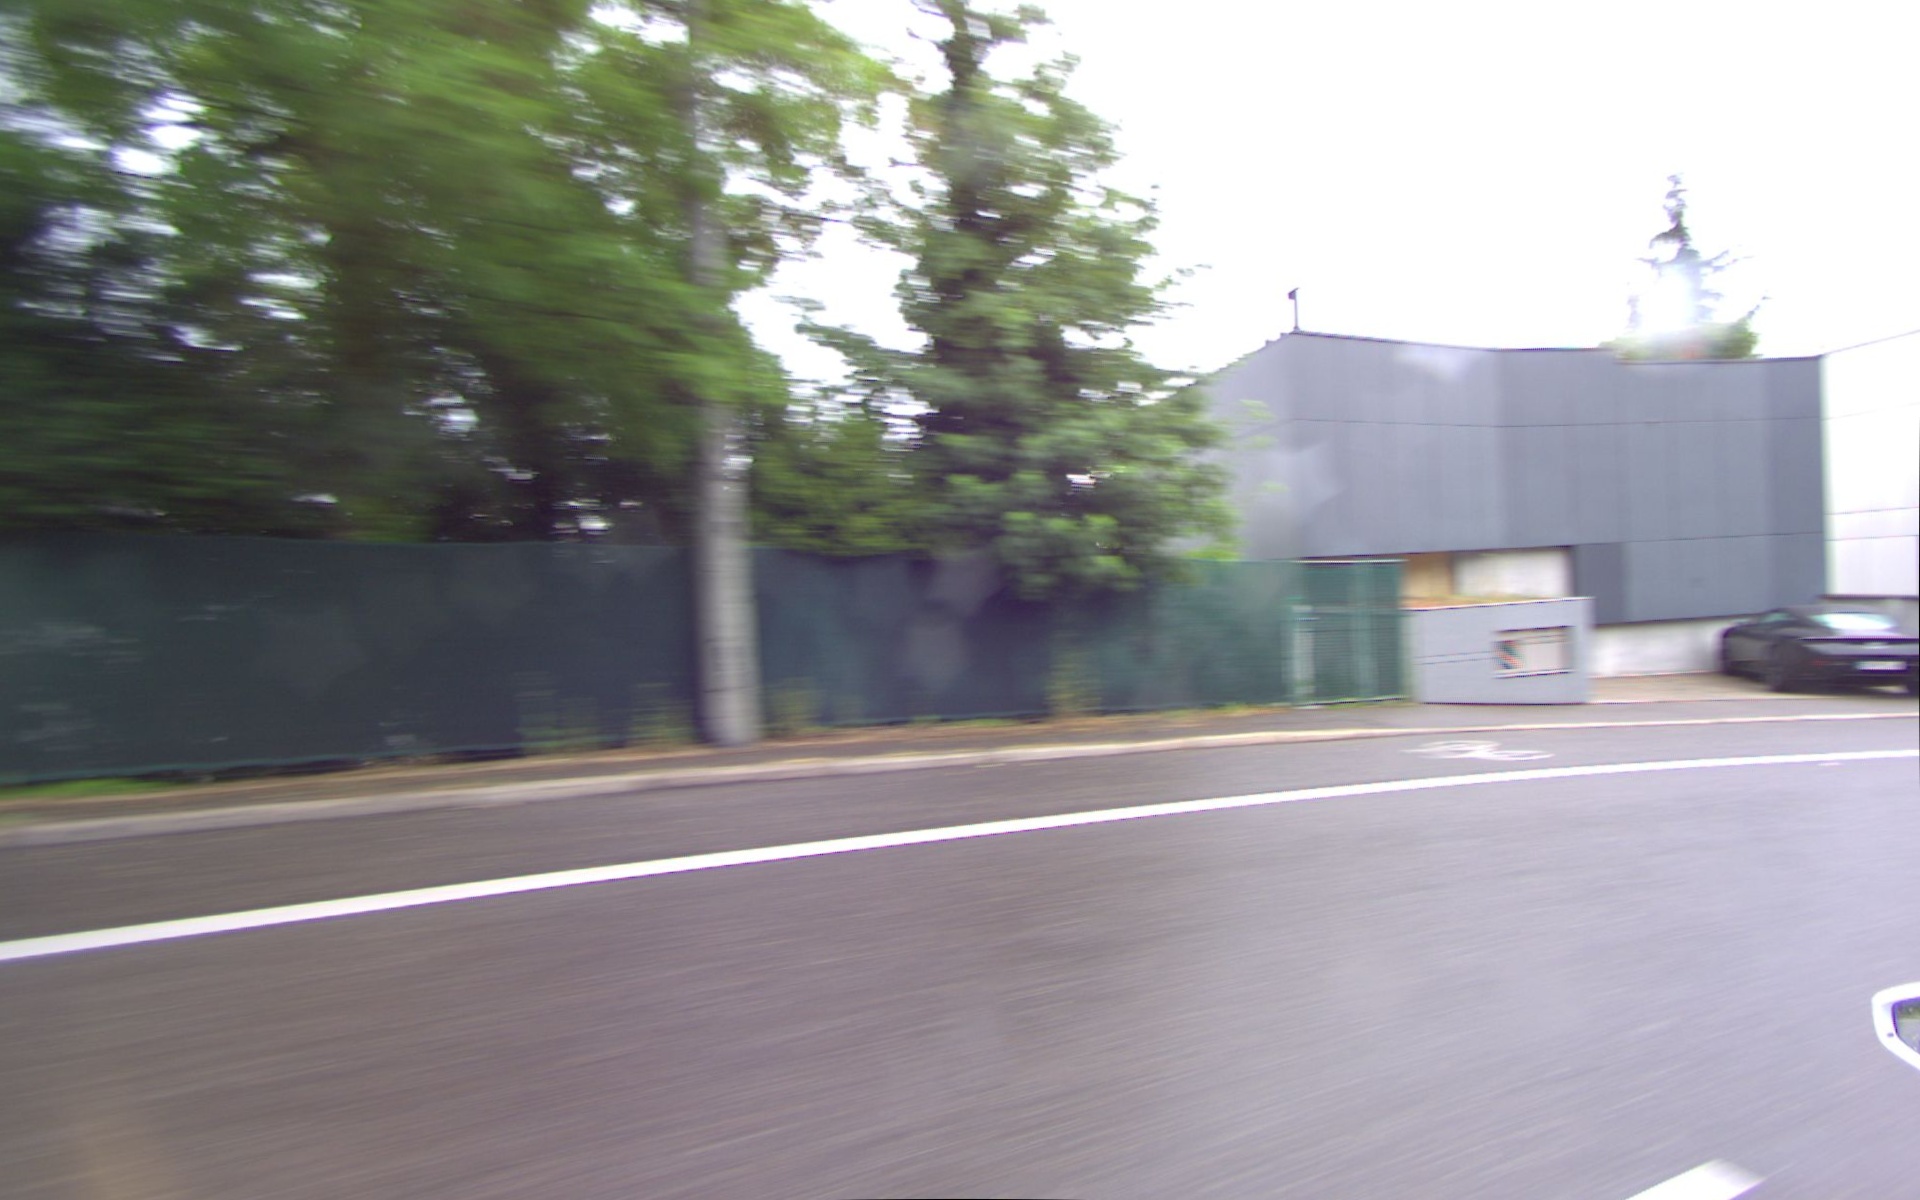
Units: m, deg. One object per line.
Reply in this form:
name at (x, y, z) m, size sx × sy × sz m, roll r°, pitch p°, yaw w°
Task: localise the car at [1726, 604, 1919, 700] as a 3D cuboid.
car at (13.790, 0.732, 16.023) m, size 1.863 × 1.318 × 3.994 m, roll 0°, pitch 0°, yaw 28°
